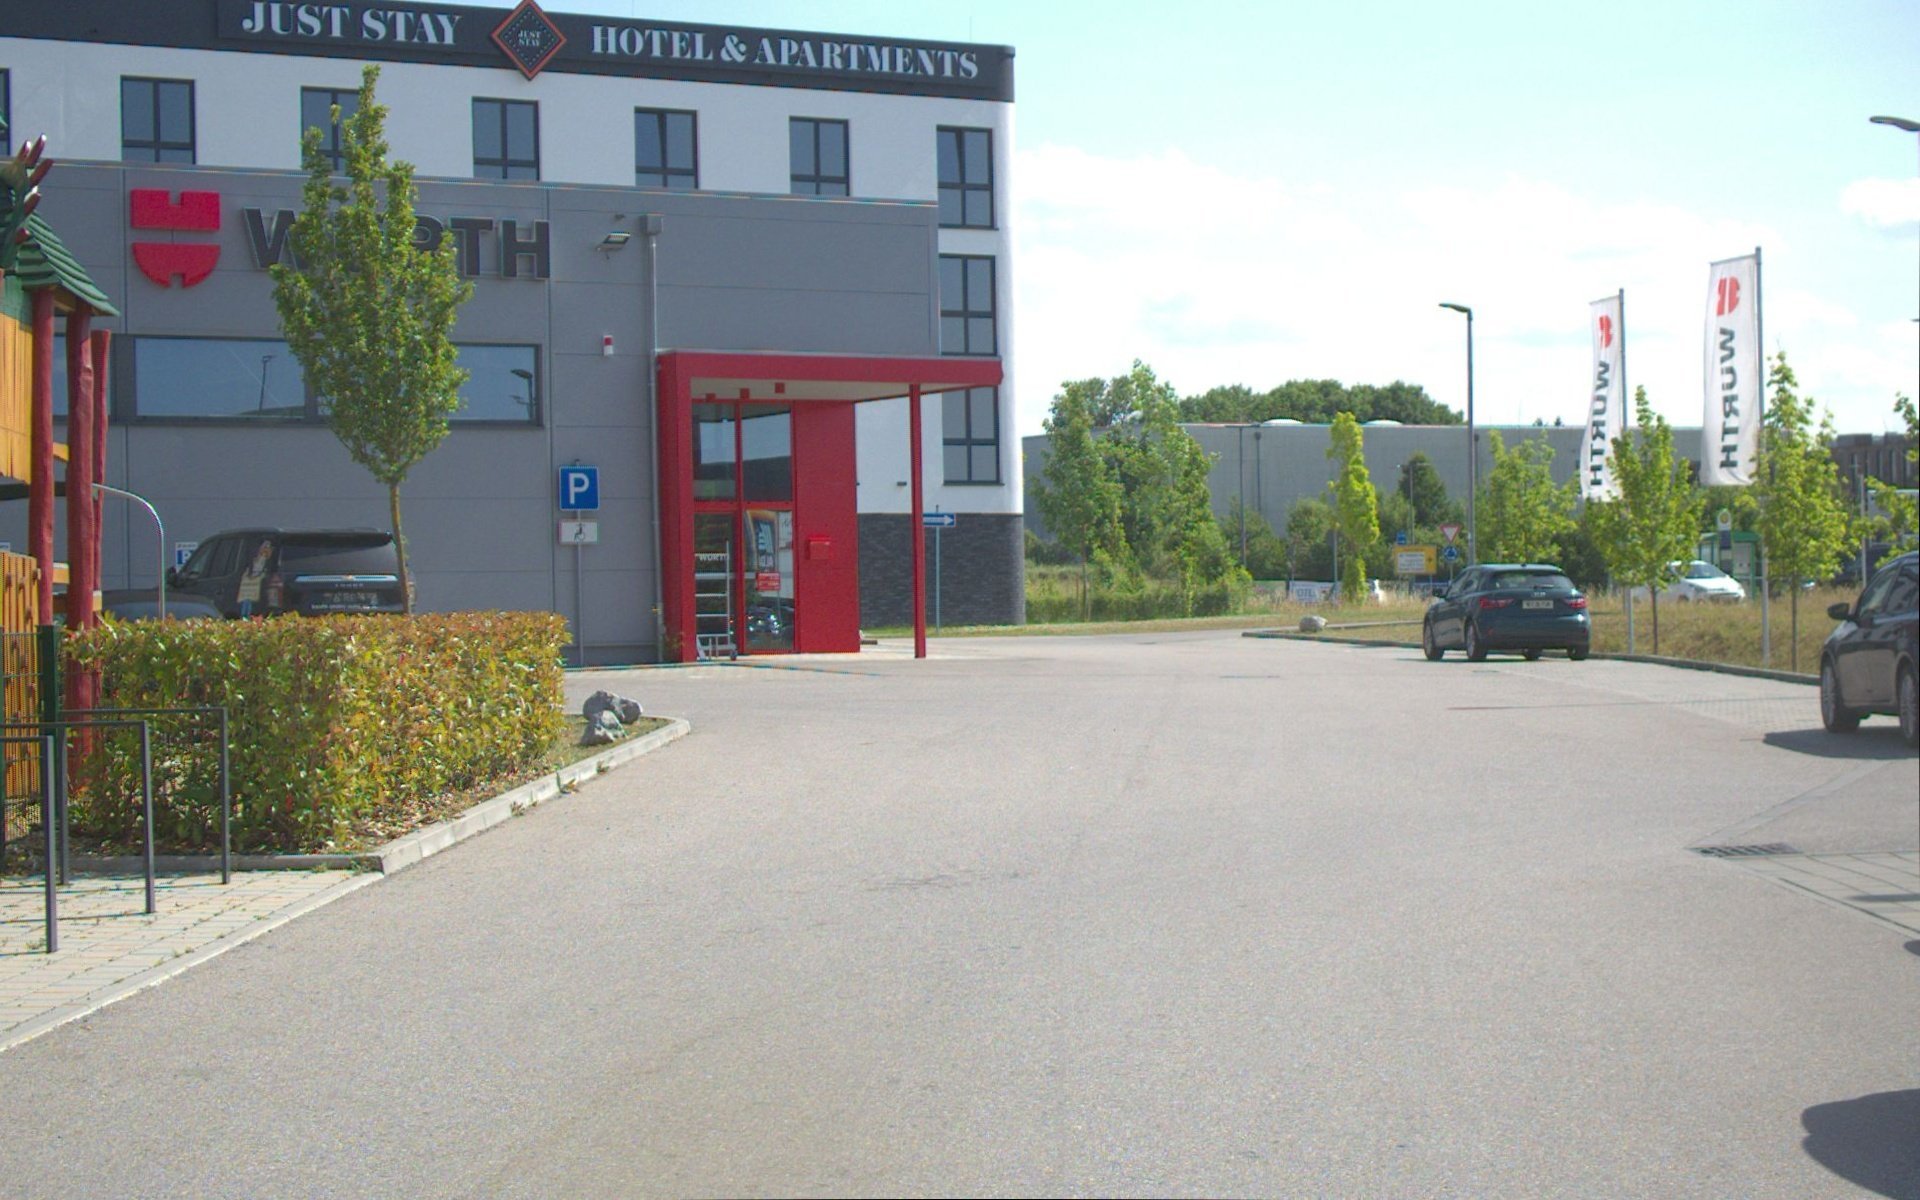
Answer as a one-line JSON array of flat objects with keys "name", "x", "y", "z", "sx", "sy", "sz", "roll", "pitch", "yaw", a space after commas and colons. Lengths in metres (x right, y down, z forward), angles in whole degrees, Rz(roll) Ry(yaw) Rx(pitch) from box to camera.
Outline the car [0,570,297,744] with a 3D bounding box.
[{"name": "car", "x": -7.480, "y": 0.440, "z": 30.090, "sx": 1.862, "sy": 1.358, "sz": 4.376, "roll": -1, "pitch": 1, "yaw": -31}]

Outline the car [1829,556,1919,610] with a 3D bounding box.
[{"name": "car", "x": 25.096, "y": -0.469, "z": 92.383, "sx": 1.646, "sy": 1.381, "sz": 3.513, "roll": -1, "pitch": 1, "yaw": -22}]

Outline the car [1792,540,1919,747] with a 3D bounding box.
[{"name": "car", "x": 7.829, "y": 0.270, "z": 26.457, "sx": 1.836, "sy": 1.472, "sz": 4.120, "roll": -2, "pitch": 1, "yaw": 1}]

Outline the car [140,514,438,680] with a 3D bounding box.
[{"name": "car", "x": -8.222, "y": -0.072, "z": 41.791, "sx": 2.071, "sy": 1.874, "sz": 4.879, "roll": -1, "pitch": 1, "yaw": -30}]

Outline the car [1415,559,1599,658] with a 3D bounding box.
[{"name": "car", "x": 8.021, "y": 0.098, "z": 50.745, "sx": 1.698, "sy": 1.401, "sz": 3.897, "roll": 0, "pitch": 1, "yaw": -6}]

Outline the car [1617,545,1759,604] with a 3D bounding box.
[{"name": "car", "x": 19.104, "y": -0.682, "z": 90.324, "sx": 1.872, "sy": 1.478, "sz": 4.001, "roll": -1, "pitch": 1, "yaw": -18}]

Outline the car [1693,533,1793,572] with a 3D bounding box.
[{"name": "car", "x": 34.293, "y": -2.078, "z": 150.559, "sx": 3.945, "sy": 1.652, "sz": 1.907, "roll": -1, "pitch": 1, "yaw": -27}]
